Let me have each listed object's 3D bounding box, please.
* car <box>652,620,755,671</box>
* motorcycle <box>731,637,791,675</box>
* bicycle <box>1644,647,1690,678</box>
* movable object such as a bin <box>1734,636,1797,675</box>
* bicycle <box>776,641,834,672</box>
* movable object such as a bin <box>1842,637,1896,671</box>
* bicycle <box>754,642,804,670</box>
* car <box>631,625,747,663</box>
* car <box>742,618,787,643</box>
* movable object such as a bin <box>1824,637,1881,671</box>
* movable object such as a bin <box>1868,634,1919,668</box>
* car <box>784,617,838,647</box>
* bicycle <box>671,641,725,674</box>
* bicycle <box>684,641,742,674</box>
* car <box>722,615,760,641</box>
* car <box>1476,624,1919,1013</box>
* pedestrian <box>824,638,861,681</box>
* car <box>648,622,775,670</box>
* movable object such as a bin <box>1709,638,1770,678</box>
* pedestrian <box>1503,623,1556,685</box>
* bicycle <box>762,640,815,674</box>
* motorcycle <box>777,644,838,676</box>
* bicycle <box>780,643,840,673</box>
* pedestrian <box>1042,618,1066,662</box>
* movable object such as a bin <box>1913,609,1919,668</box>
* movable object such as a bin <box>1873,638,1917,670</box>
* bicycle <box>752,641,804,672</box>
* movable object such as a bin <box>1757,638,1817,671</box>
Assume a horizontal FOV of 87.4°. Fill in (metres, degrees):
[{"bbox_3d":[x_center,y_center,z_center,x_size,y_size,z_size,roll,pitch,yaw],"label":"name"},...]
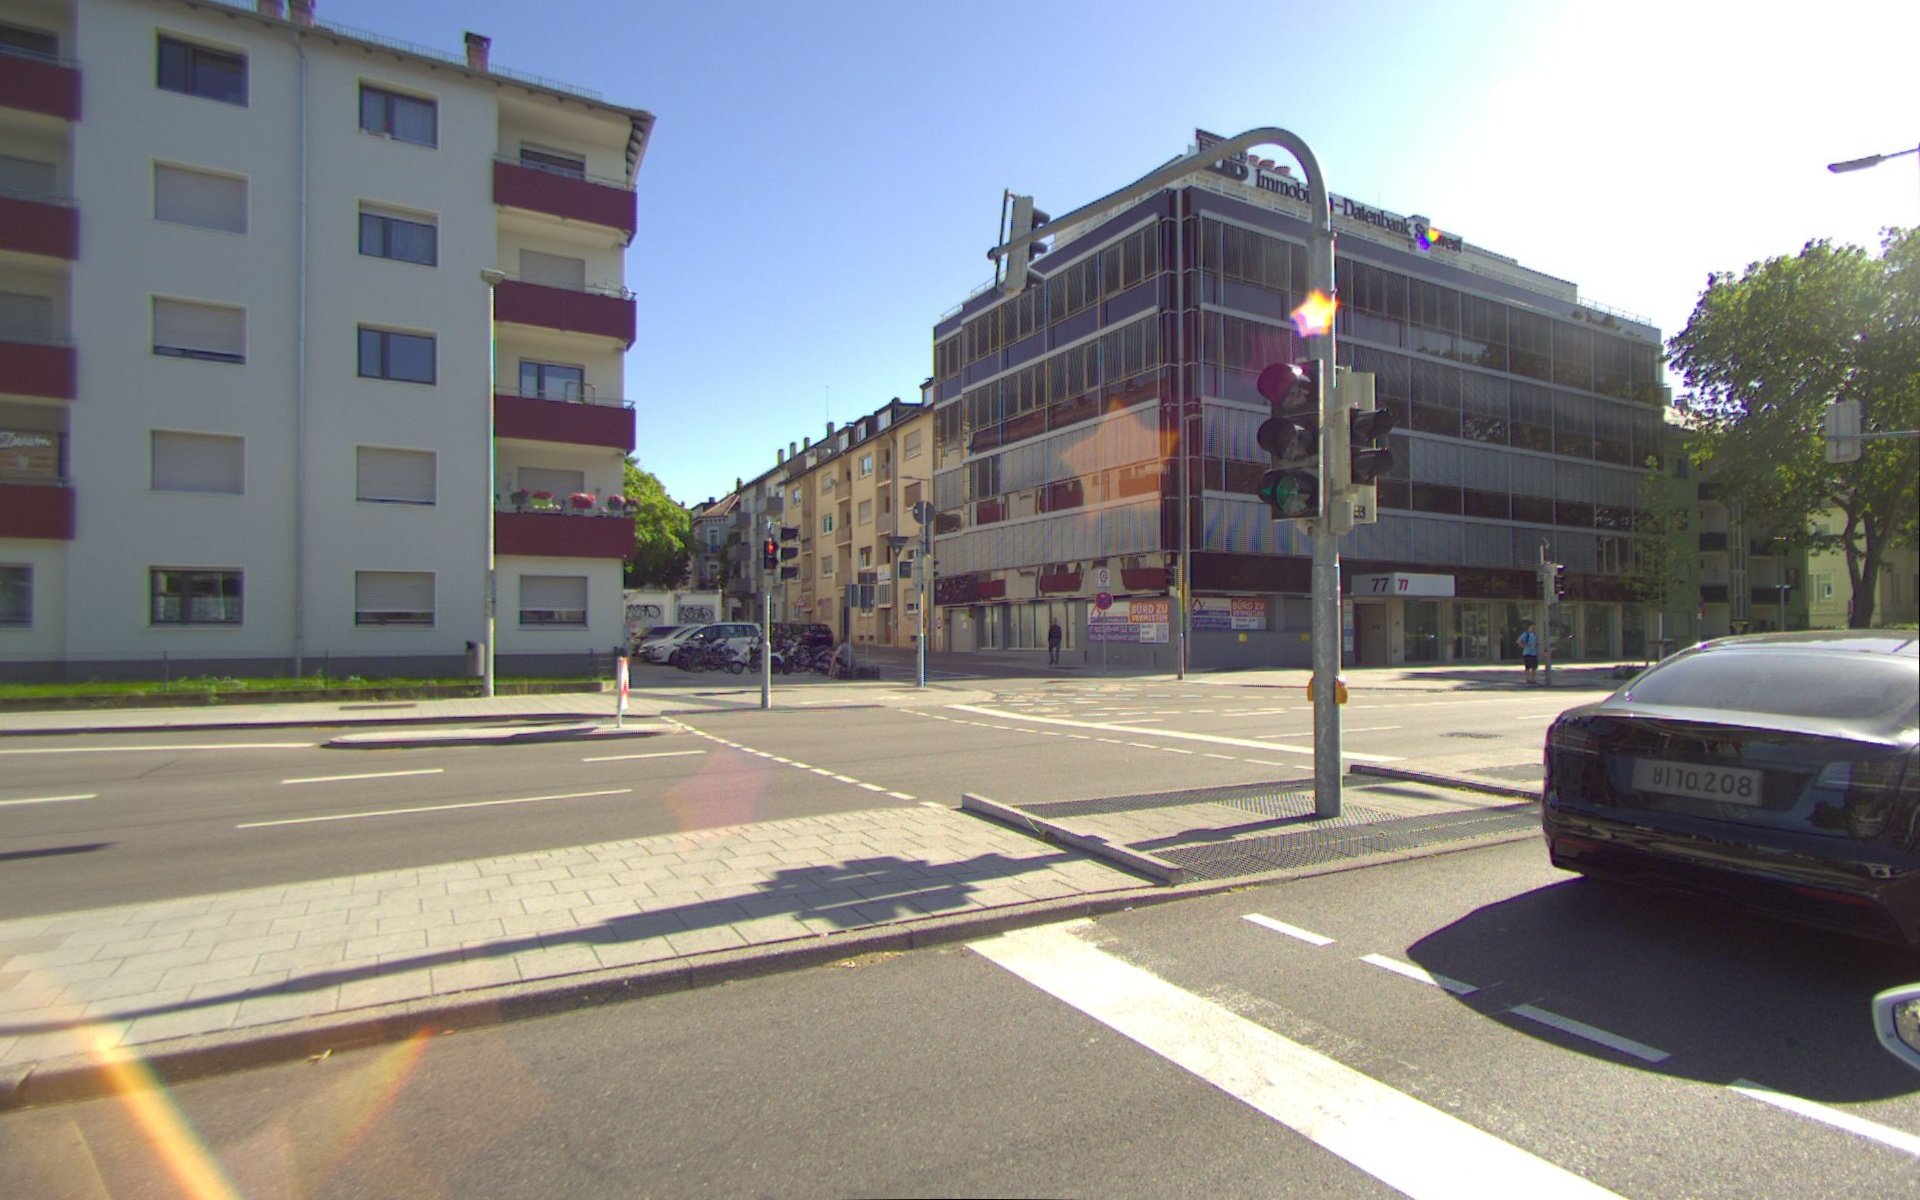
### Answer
[{"bbox_3d":[-10.286,1.794,40.275,3.744,1.981,1.690,1,-2,-27],"label":"car"},{"bbox_3d":[-6.211,1.725,31.290,1.757,1.157,0.610,0,-1,-22],"label":"motorcycle"},{"bbox_3d":[25.445,2.237,36.139,1.856,1.051,0.624,1,-1,-29],"label":"bicycle"},{"bbox_3d":[30.143,2.072,37.604,1.832,1.406,1.210,1,-2,-28],"label":"movable object such as a bin"},{"bbox_3d":[-5.039,1.831,32.624,1.852,0.991,0.507,0,-1,-14],"label":"bicycle"},{"bbox_3d":[37.286,2.188,41.213,0.924,1.355,1.405,1,-2,-28],"label":"movable object such as a bin"},{"bbox_3d":[-6.440,1.987,35.708,1.702,0.960,0.456,1,-2,-29],"label":"bicycle"},{"bbox_3d":[-11.542,1.847,42.824,4.516,1.549,1.752,1,-2,-28],"label":"car"},{"bbox_3d":[-12.845,1.982,65.751,1.973,1.623,3.975,1,-2,-25],"label":"car"},{"bbox_3d":[36.270,2.190,40.831,1.142,1.355,1.405,1,-2,-28],"label":"movable object such as a bin"},{"bbox_3d":[40.637,2.187,43.639,1.608,1.441,1.259,-1,-2,35],"label":"movable object such as a bin"},{"bbox_3d":[-8.391,1.795,56.399,1.973,1.623,3.975,1,-2,-25],"label":"car"},{"bbox_3d":[-8.755,1.915,33.579,1.667,1.072,0.572,1,-1,-26],"label":"bicycle"},{"bbox_3d":[-7.853,1.819,31.948,1.713,0.982,0.572,1,-1,-26],"label":"bicycle"},{"bbox_3d":[-15.433,1.929,70.746,1.971,1.796,3.978,0,-1,-23],"label":"car"},{"bbox_3d":[5.128,0.849,5.525,4.571,1.430,1.916,1,-2,-30],"label":"car"},{"bbox_3d":[-3.316,1.666,28.370,0.783,1.168,0.710,1,-2,-42],"label":"pedestrian"},{"bbox_3d":[-9.431,1.715,38.150,4.417,1.754,1.989,0,-2,-24],"label":"car"},{"bbox_3d":[28.204,2.071,36.342,1.832,1.406,1.109,1,-2,-28],"label":"movable object such as a bin"},{"bbox_3d":[16.219,1.524,28.635,0.998,1.733,0.863,0,-1,-23],"label":"pedestrian"},{"bbox_3d":[-5.792,1.910,33.891,1.715,1.082,0.487,1,-1,-28],"label":"bicycle"},{"bbox_3d":[-4.692,1.827,30.929,1.816,0.948,0.502,0,-1,-23],"label":"motorcycle"},{"bbox_3d":[-4.966,1.910,33.316,1.922,0.960,0.476,1,-1,-22],"label":"bicycle"},{"bbox_3d":[3.585,1.522,38.210,0.687,1.679,0.746,-1,-1,23],"label":"pedestrian"},{"bbox_3d":[47.671,1.820,47.857,5.298,2.742,2.134,1,-2,-33],"label":"movable object such as a bin"},{"bbox_3d":[39.340,2.263,42.268,1.522,1.287,0.975,1,-2,-30],"label":"movable object such as a bin"},{"bbox_3d":[-6.316,1.944,34.819,1.713,1.017,0.507,1,-1,-26],"label":"bicycle"},{"bbox_3d":[31.639,2.074,38.448,1.225,1.219,1.389,1,-2,-27],"label":"movable object such as a bin"}]
